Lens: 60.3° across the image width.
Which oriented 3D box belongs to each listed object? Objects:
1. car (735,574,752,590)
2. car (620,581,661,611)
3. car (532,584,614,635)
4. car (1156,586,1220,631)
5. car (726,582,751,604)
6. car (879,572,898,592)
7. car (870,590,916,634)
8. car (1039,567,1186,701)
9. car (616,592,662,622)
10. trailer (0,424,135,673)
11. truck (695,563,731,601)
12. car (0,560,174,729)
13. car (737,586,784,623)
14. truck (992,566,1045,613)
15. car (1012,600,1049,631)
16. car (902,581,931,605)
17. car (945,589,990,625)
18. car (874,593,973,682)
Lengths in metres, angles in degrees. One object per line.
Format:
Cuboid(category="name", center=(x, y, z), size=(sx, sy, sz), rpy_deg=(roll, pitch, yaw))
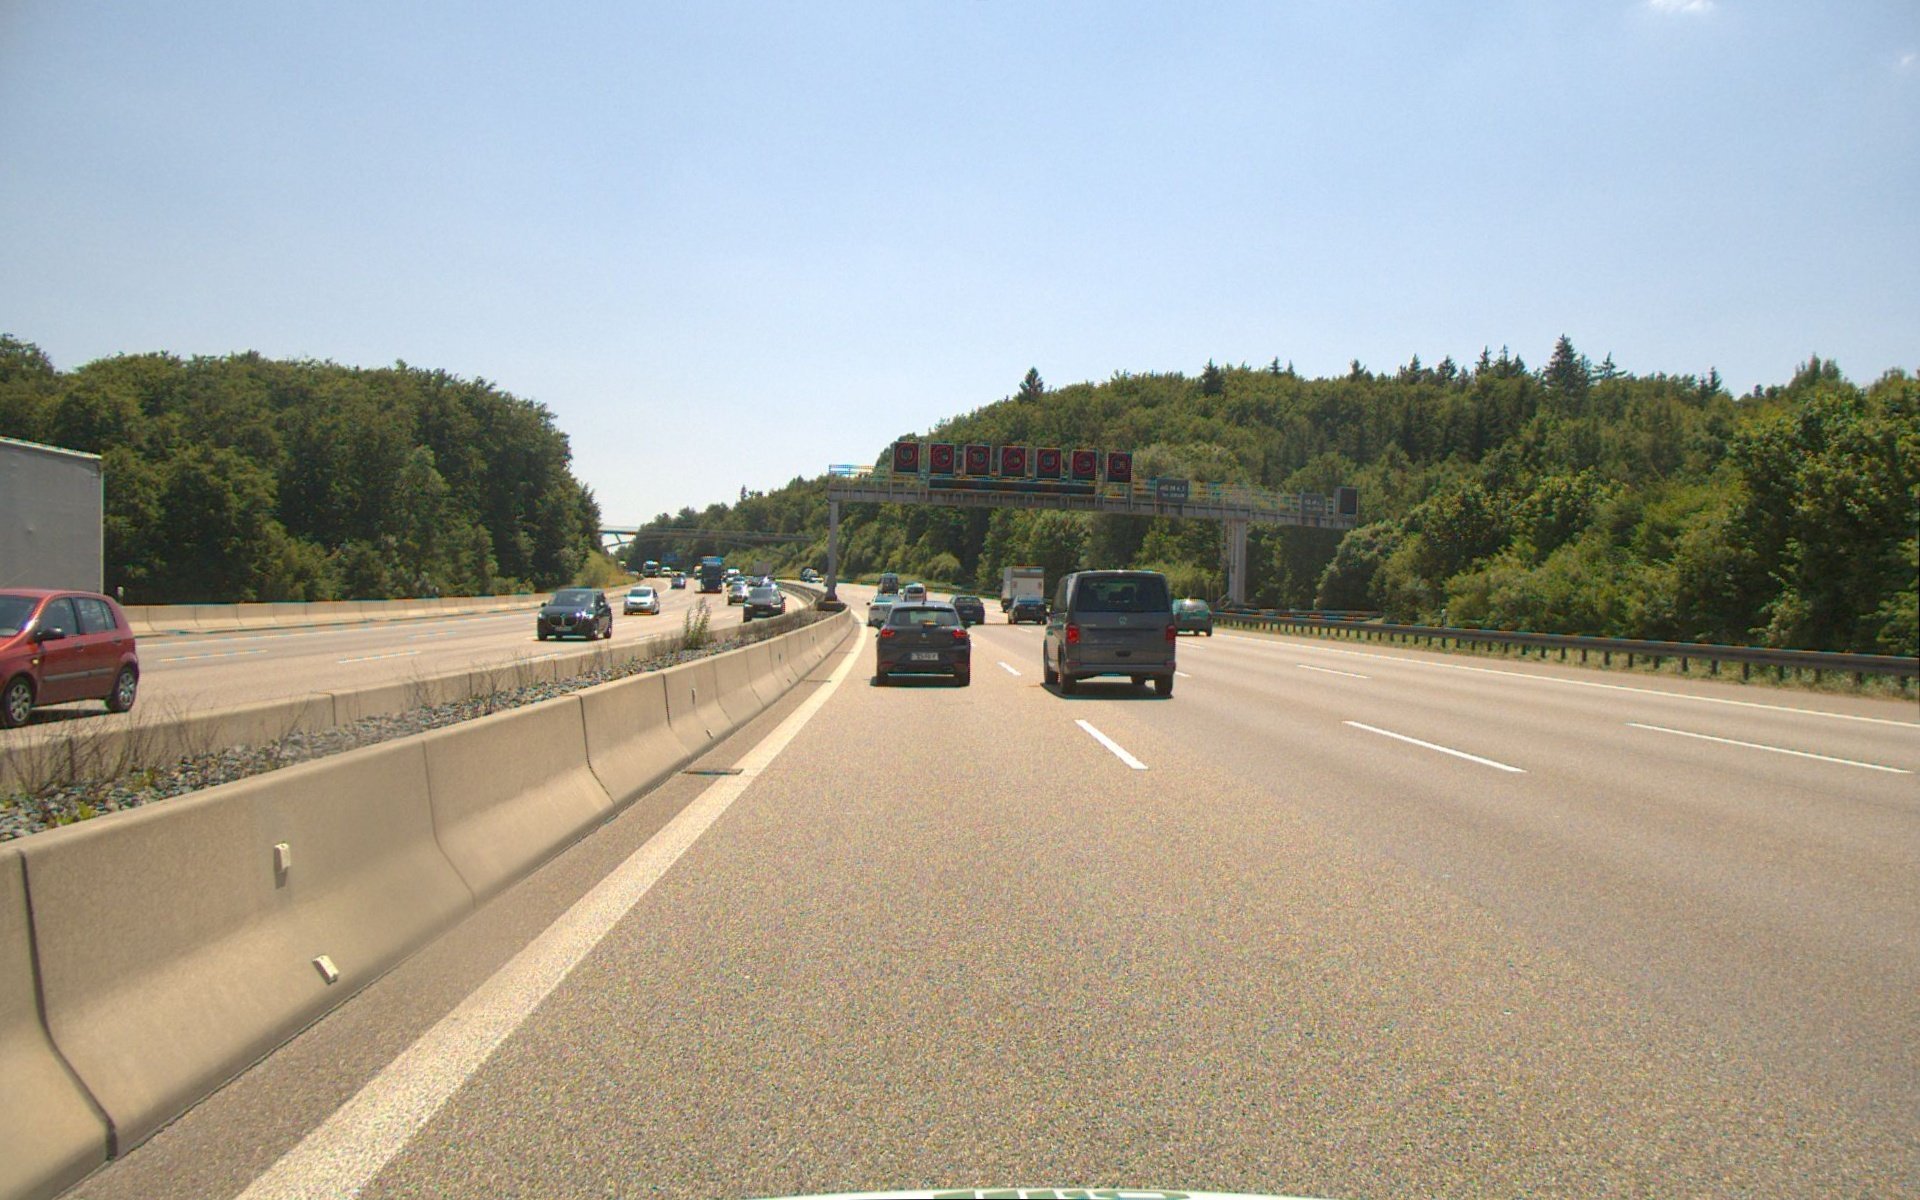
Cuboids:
Cuboid(category="car", center=(-27.998, -2.350, 213.865), size=(1.954, 2.001, 4.779), rpy_deg=(1, 0, -5))
Cuboid(category="car", center=(-18.248, -0.216, 94.483), size=(1.683, 1.633, 4.279), rpy_deg=(1, 0, -3))
Cuboid(category="car", center=(-12.203, 0.331, 52.365), size=(1.726, 1.547, 4.359), rpy_deg=(1, -1, -2))
Cuboid(category="car", center=(9.147, 0.335, 66.605), size=(1.953, 1.758, 3.999), rpy_deg=(1, 0, -1))
Cuboid(category="car", center=(-17.743, -0.561, 132.509), size=(1.720, 1.663, 4.635), rpy_deg=(1, 1, -4))
Cuboid(category="car", center=(-8.634, -2.126, 198.678), size=(2.220, 2.413, 4.699), rpy_deg=(1, 0, -3))
Cuboid(category="car", center=(-3.106, 0.595, 77.177), size=(1.971, 1.878, 3.999), rpy_deg=(1, -2, 0))
Cuboid(category="car", center=(2.505, 0.533, 28.397), size=(1.923, 2.069, 5.082), rpy_deg=(1, 0, -2))
Cuboid(category="car", center=(-18.343, 0.388, 94.544), size=(1.954, 1.558, 4.376), rpy_deg=(2, 1, -3))
Cuboid(category="trailer", center=(-18.039, -0.913, 26.920), size=(2.807, 4.337, 13.952), rpy_deg=(0, 0, -3))
Cuboid(category="truck", center=(-28.989, -2.100, 194.152), size=(3.713, 4.250, 5.872), rpy_deg=(2, 0, -6))
Cuboid(category="car", center=(-11.149, 0.461, 18.612), size=(2.240, 1.758, 5.029), rpy_deg=(0, 0, -1))
Cuboid(category="car", center=(-9.649, 0.201, 80.327), size=(1.954, 1.697, 4.432), rpy_deg=(1, 0, -3))
Cuboid(category="truck", center=(4.197, -0.823, 120.212), size=(2.927, 3.222, 7.568), rpy_deg=(1, 1, -4))
Cuboid(category="car", center=(3.596, 0.766, 84.945), size=(1.631, 1.433, 4.902), rpy_deg=(1, 1, -1))
Cuboid(category="car", center=(-3.412, -0.535, 128.668), size=(2.062, 1.774, 4.684), rpy_deg=(1, 1, -4))
Cuboid(category="car", center=(0.334, 0.381, 82.839), size=(1.954, 1.758, 4.146), rpy_deg=(1, -1, -4))
Cuboid(category="car", center=(-0.689, 0.634, 30.341), size=(1.673, 1.458, 3.999), rpy_deg=(1, 1, -2))
